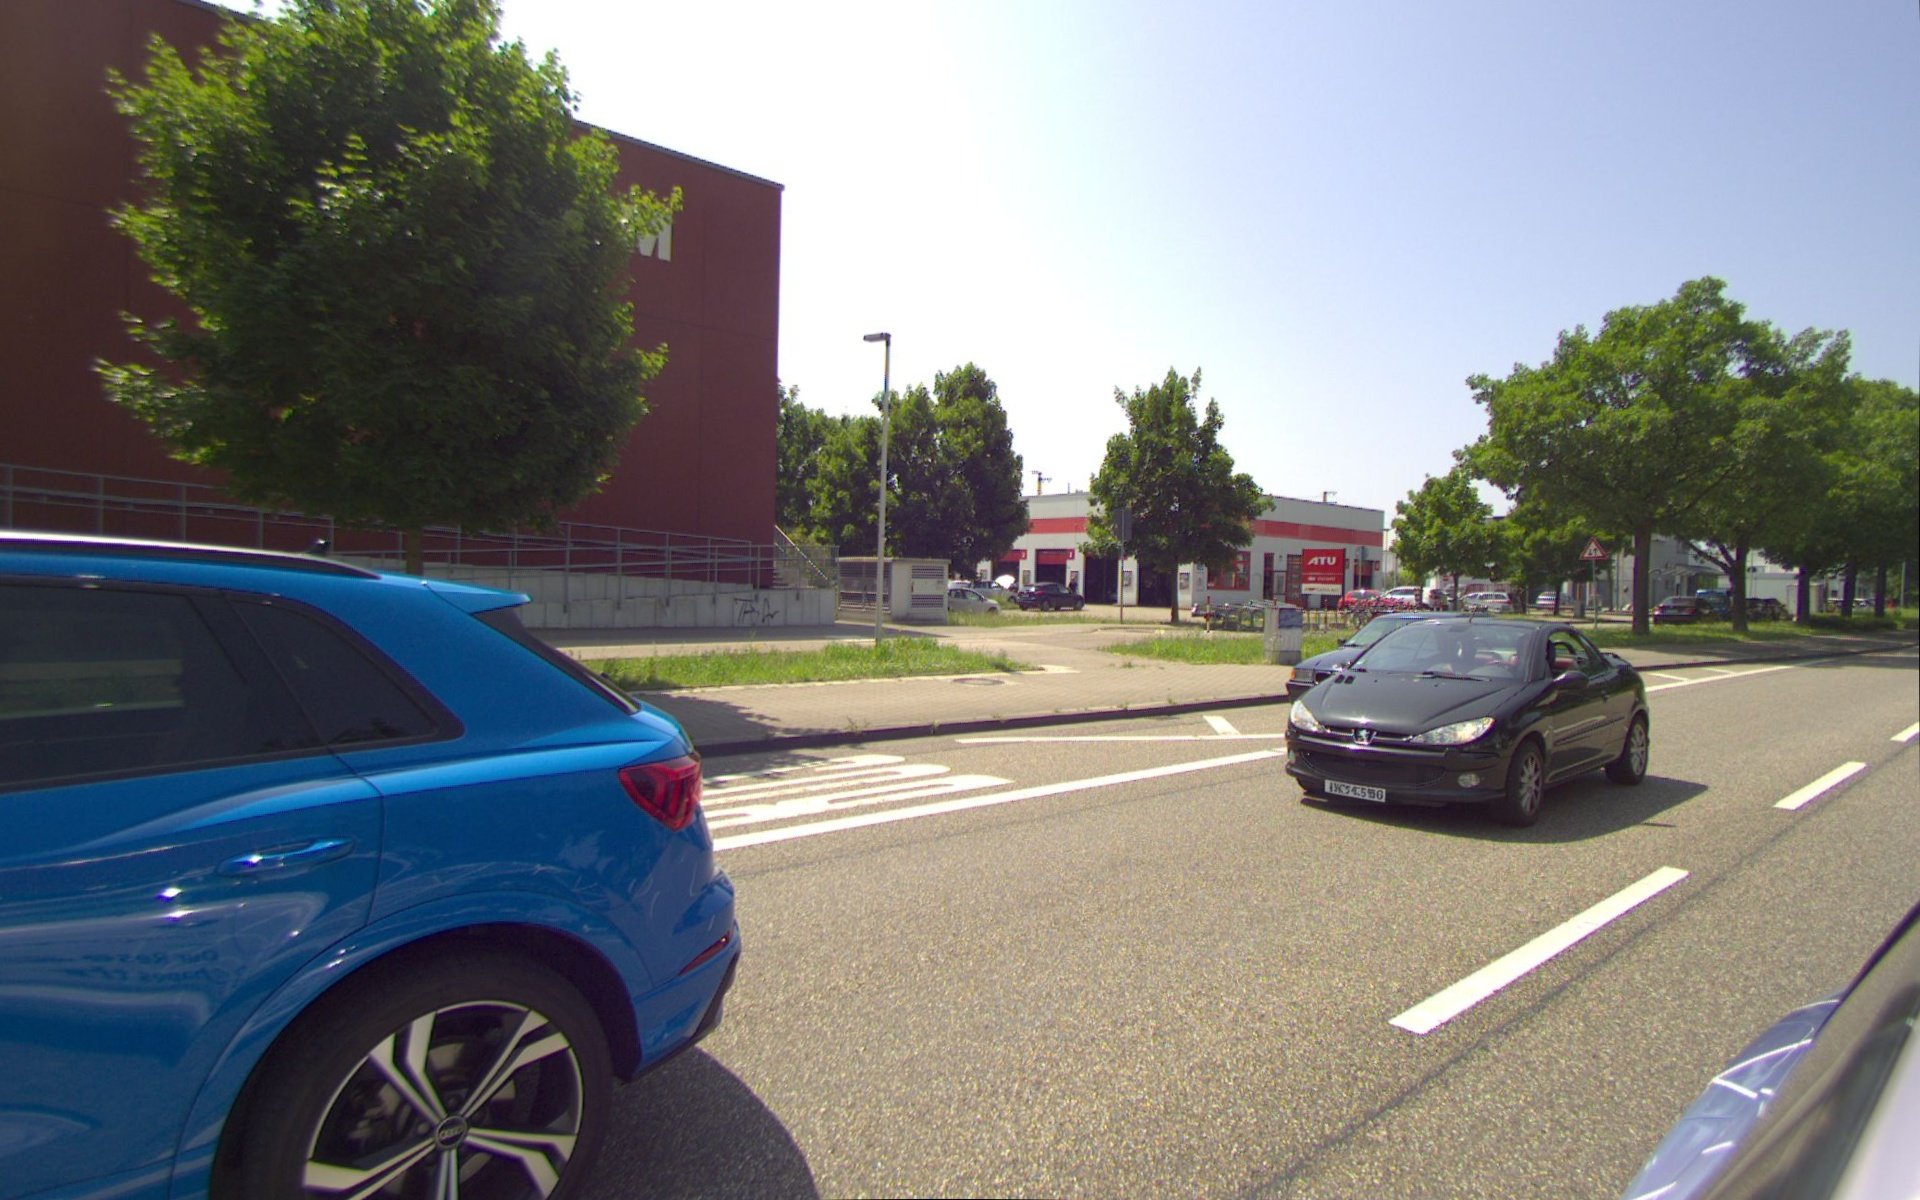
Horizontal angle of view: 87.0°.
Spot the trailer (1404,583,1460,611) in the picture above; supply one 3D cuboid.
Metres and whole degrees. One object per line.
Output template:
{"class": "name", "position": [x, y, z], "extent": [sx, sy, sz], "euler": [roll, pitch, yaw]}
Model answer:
{"class": "trailer", "position": [27.714, -0.169, 59.404], "extent": [1.391, 1.546, 2.639], "euler": [1, 1, -42]}

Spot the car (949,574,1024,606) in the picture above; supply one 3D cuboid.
{"class": "car", "position": [1.480, -0.563, 56.346], "extent": [4.073, 1.683, 1.716], "euler": [0, 2, -41]}

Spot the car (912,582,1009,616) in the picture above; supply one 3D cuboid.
{"class": "car", "position": [0.064, -0.060, 42.243], "extent": [3.903, 1.329, 1.652], "euler": [0, 2, -41]}

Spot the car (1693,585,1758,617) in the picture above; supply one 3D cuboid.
{"class": "car", "position": [37.620, 0.037, 49.715], "extent": [3.929, 1.485, 1.719], "euler": [0, 1, -40]}

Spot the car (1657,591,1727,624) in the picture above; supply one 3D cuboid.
{"class": "car", "position": [33.200, 0.329, 45.891], "extent": [3.929, 1.388, 1.641], "euler": [0, 1, -40]}

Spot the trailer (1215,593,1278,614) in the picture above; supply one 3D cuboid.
{"class": "trailer", "position": [11.713, 0.132, 41.407], "extent": [1.244, 0.771, 2.138], "euler": [0, 2, -38]}

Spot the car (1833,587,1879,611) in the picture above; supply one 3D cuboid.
{"class": "car", "position": [59.821, -0.060, 67.550], "extent": [3.929, 1.485, 1.719], "euler": [0, 1, -40]}

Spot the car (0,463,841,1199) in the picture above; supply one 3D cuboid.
{"class": "car", "position": [-2.547, 0.569, 1.970], "extent": [4.323, 1.616, 1.841], "euler": [0, 1, -41]}

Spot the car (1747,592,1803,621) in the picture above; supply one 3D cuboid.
{"class": "car", "position": [46.011, 0.349, 57.134], "extent": [3.929, 1.532, 1.719], "euler": [0, 1, -40]}

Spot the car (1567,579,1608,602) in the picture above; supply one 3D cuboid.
{"class": "car", "position": [44.703, -0.665, 72.116], "extent": [1.754, 1.616, 3.938], "euler": [2, 1, 43]}

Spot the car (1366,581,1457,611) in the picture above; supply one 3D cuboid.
{"class": "car", "position": [23.599, -0.247, 52.964], "extent": [1.718, 1.419, 3.992], "euler": [0, 2, -43]}

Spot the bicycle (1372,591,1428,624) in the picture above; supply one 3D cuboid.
{"class": "bicycle", "position": [16.118, 0.273, 37.096], "extent": [1.779, 1.138, 0.506], "euler": [2, 1, 44]}

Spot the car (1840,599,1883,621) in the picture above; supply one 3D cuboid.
{"class": "car", "position": [64.345, 0.685, 72.188], "extent": [3.929, 1.485, 1.719], "euler": [0, 1, -40]}

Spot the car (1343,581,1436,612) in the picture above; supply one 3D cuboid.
{"class": "car", "position": [21.780, -0.205, 51.367], "extent": [1.717, 1.419, 3.993], "euler": [0, 2, -42]}

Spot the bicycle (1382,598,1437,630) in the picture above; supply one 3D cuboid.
{"class": "bicycle", "position": [16.885, 0.511, 38.040], "extent": [1.779, 1.138, 0.506], "euler": [2, 1, 44]}

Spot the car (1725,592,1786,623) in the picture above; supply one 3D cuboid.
{"class": "car", "position": [41.714, 0.372, 53.044], "extent": [3.929, 1.539, 1.719], "euler": [0, 1, -40]}

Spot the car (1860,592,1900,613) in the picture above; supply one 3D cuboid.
{"class": "car", "position": [70.131, 0.188, 77.129], "extent": [3.929, 1.485, 1.719], "euler": [0, 1, -40]}

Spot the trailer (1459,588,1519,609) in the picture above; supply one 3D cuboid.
{"class": "trailer", "position": [29.840, -0.083, 57.073], "extent": [1.551, 1.065, 2.639], "euler": [0, 2, -42]}

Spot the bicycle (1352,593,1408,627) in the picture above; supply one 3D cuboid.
{"class": "bicycle", "position": [15.259, 0.357, 36.780], "extent": [1.779, 1.138, 0.506], "euler": [2, 1, 44]}

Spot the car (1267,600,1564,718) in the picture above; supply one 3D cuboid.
{"class": "car", "position": [6.202, 0.704, 13.665], "extent": [4.063, 1.388, 1.644], "euler": [0, -1, -31]}

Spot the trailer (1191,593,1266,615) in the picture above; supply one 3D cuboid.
{"class": "trailer", "position": [10.574, 0.153, 39.928], "extent": [1.423, 0.771, 2.467], "euler": [0, 2, -38]}

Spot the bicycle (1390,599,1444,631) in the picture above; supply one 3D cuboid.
{"class": "bicycle", "position": [17.373, 0.559, 38.527], "extent": [1.779, 1.138, 0.506], "euler": [2, 1, 44]}

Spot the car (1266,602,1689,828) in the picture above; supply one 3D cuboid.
{"class": "car", "position": [4.233, 0.701, 8.010], "extent": [3.930, 1.361, 1.640], "euler": [0, -1, -41]}

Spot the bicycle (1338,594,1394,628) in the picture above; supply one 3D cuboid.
{"class": "bicycle", "position": [14.626, 0.371, 36.469], "extent": [1.779, 1.138, 0.506], "euler": [2, 1, 44]}

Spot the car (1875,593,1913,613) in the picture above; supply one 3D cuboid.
{"class": "car", "position": [74.846, 0.254, 81.116], "extent": [3.929, 1.485, 1.719], "euler": [0, 1, -40]}

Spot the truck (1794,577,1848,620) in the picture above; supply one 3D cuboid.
{"class": "truck", "position": [54.926, -0.085, 64.548], "extent": [3.927, 2.599, 1.905], "euler": [1, 1, -39]}

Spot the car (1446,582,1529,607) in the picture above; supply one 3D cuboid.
{"class": "car", "position": [30.793, -0.319, 59.184], "extent": [1.661, 1.317, 3.992], "euler": [0, 2, -43]}

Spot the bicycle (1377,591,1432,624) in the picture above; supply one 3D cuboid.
{"class": "bicycle", "position": [16.490, 0.278, 37.591], "extent": [1.779, 1.138, 0.506], "euler": [2, 1, 44]}

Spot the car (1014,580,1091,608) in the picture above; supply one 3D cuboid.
{"class": "car", "position": [4.956, -0.304, 53.900], "extent": [4.073, 1.390, 1.716], "euler": [0, 2, -41]}

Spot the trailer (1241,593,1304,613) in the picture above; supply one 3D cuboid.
{"class": "trailer", "position": [13.049, 0.108, 42.292], "extent": [1.368, 0.771, 2.138], "euler": [0, 2, -38]}

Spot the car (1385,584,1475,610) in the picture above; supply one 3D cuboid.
{"class": "car", "position": [25.187, -0.177, 54.327], "extent": [1.718, 1.223, 3.992], "euler": [0, 2, -43]}
